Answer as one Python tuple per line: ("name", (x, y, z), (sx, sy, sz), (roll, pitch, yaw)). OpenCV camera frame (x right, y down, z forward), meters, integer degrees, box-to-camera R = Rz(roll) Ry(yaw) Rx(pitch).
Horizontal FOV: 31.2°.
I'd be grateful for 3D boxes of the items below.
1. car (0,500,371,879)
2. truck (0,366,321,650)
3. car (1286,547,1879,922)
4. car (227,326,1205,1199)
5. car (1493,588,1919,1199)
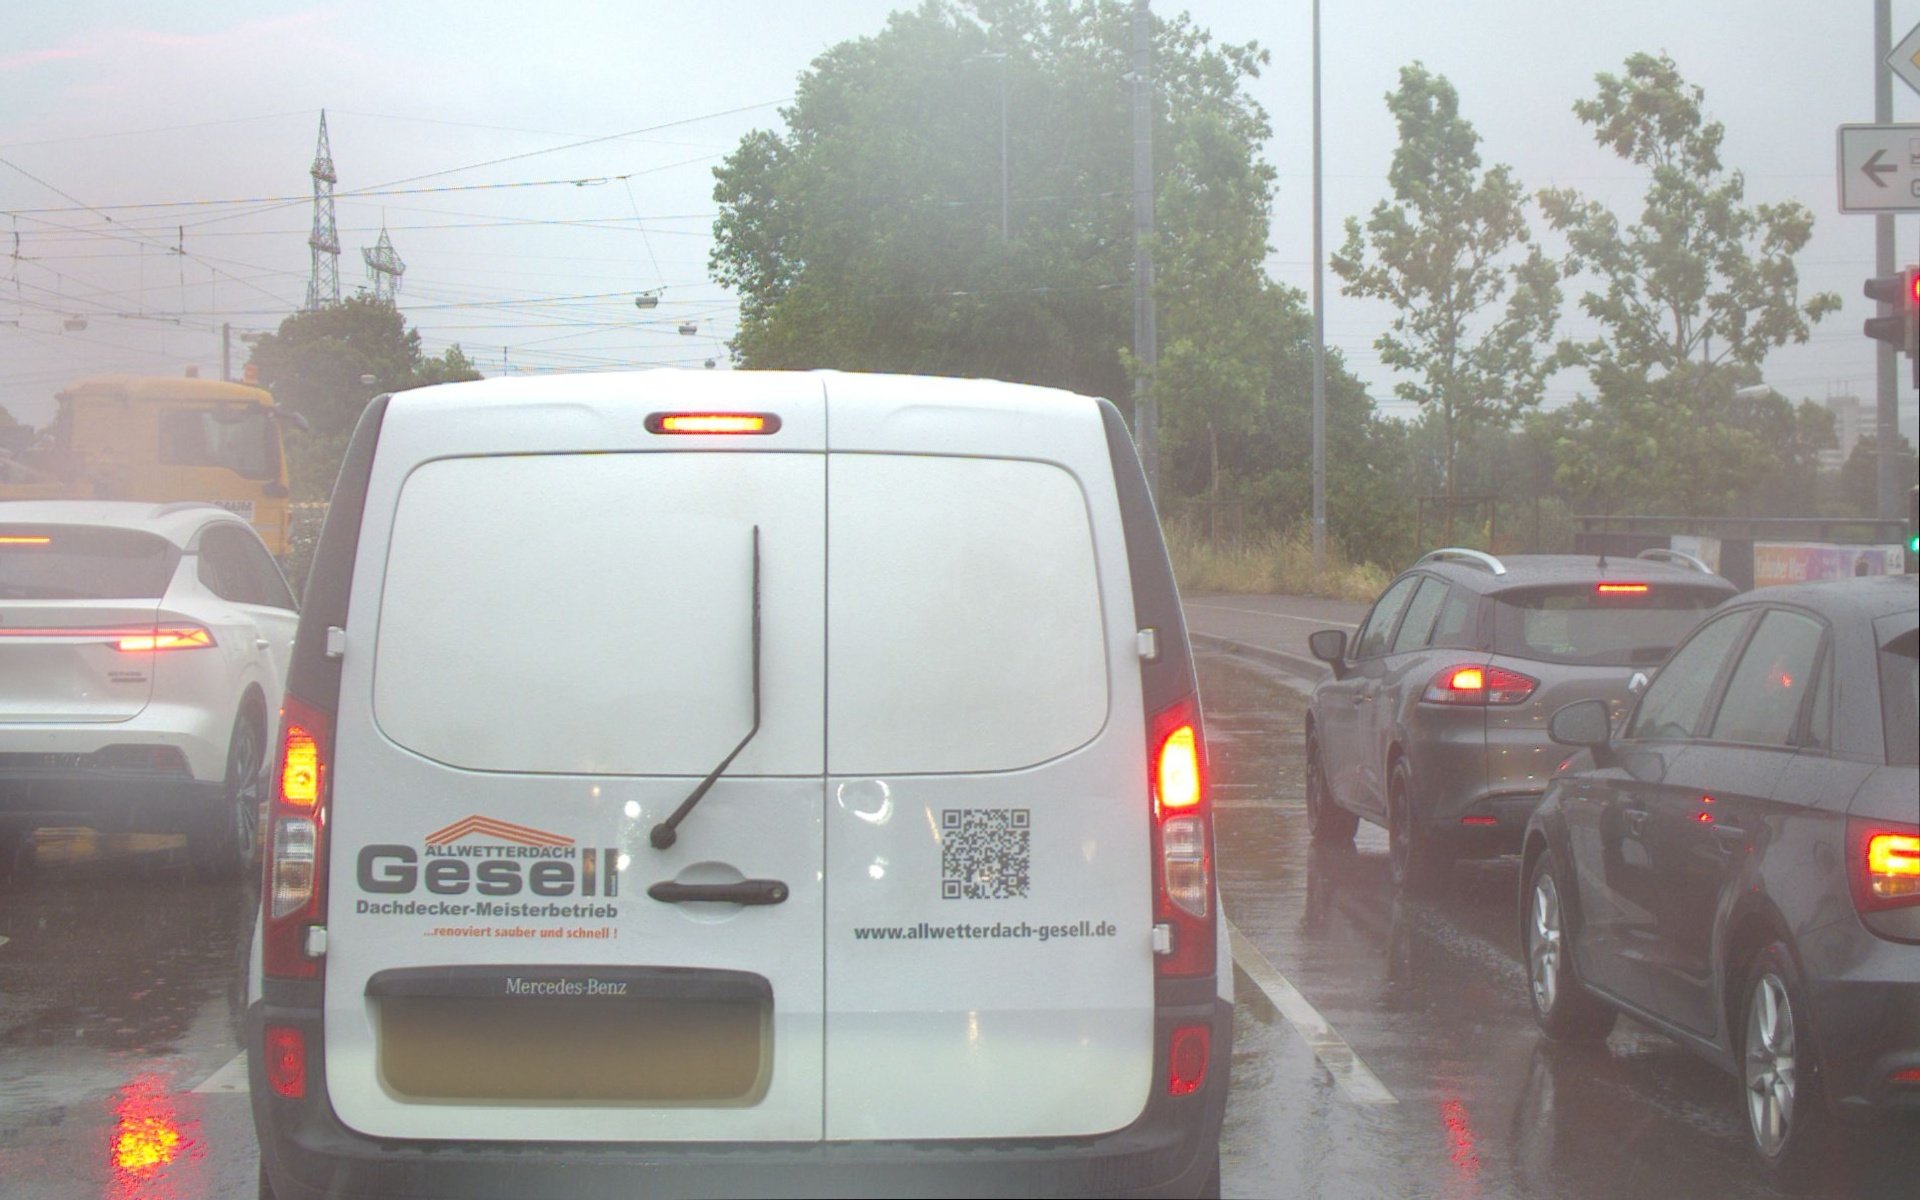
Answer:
("car", (-3.947, 0.306, 16.136), (1.728, 1.530, 4.298), (1, 1, -2))
("truck", (-10.355, -0.923, 34.973), (7.123, 2.806, 2.641), (0, 1, -35))
("car", (2.640, 0.504, 15.489), (1.859, 1.424, 3.808), (1, 1, -2))
("car", (-0.414, 0.429, 7.529), (1.566, 1.782, 4.000), (0, 1, -1))
("car", (2.535, 0.664, 8.924), (1.629, 1.340, 3.624), (1, 1, -2))
